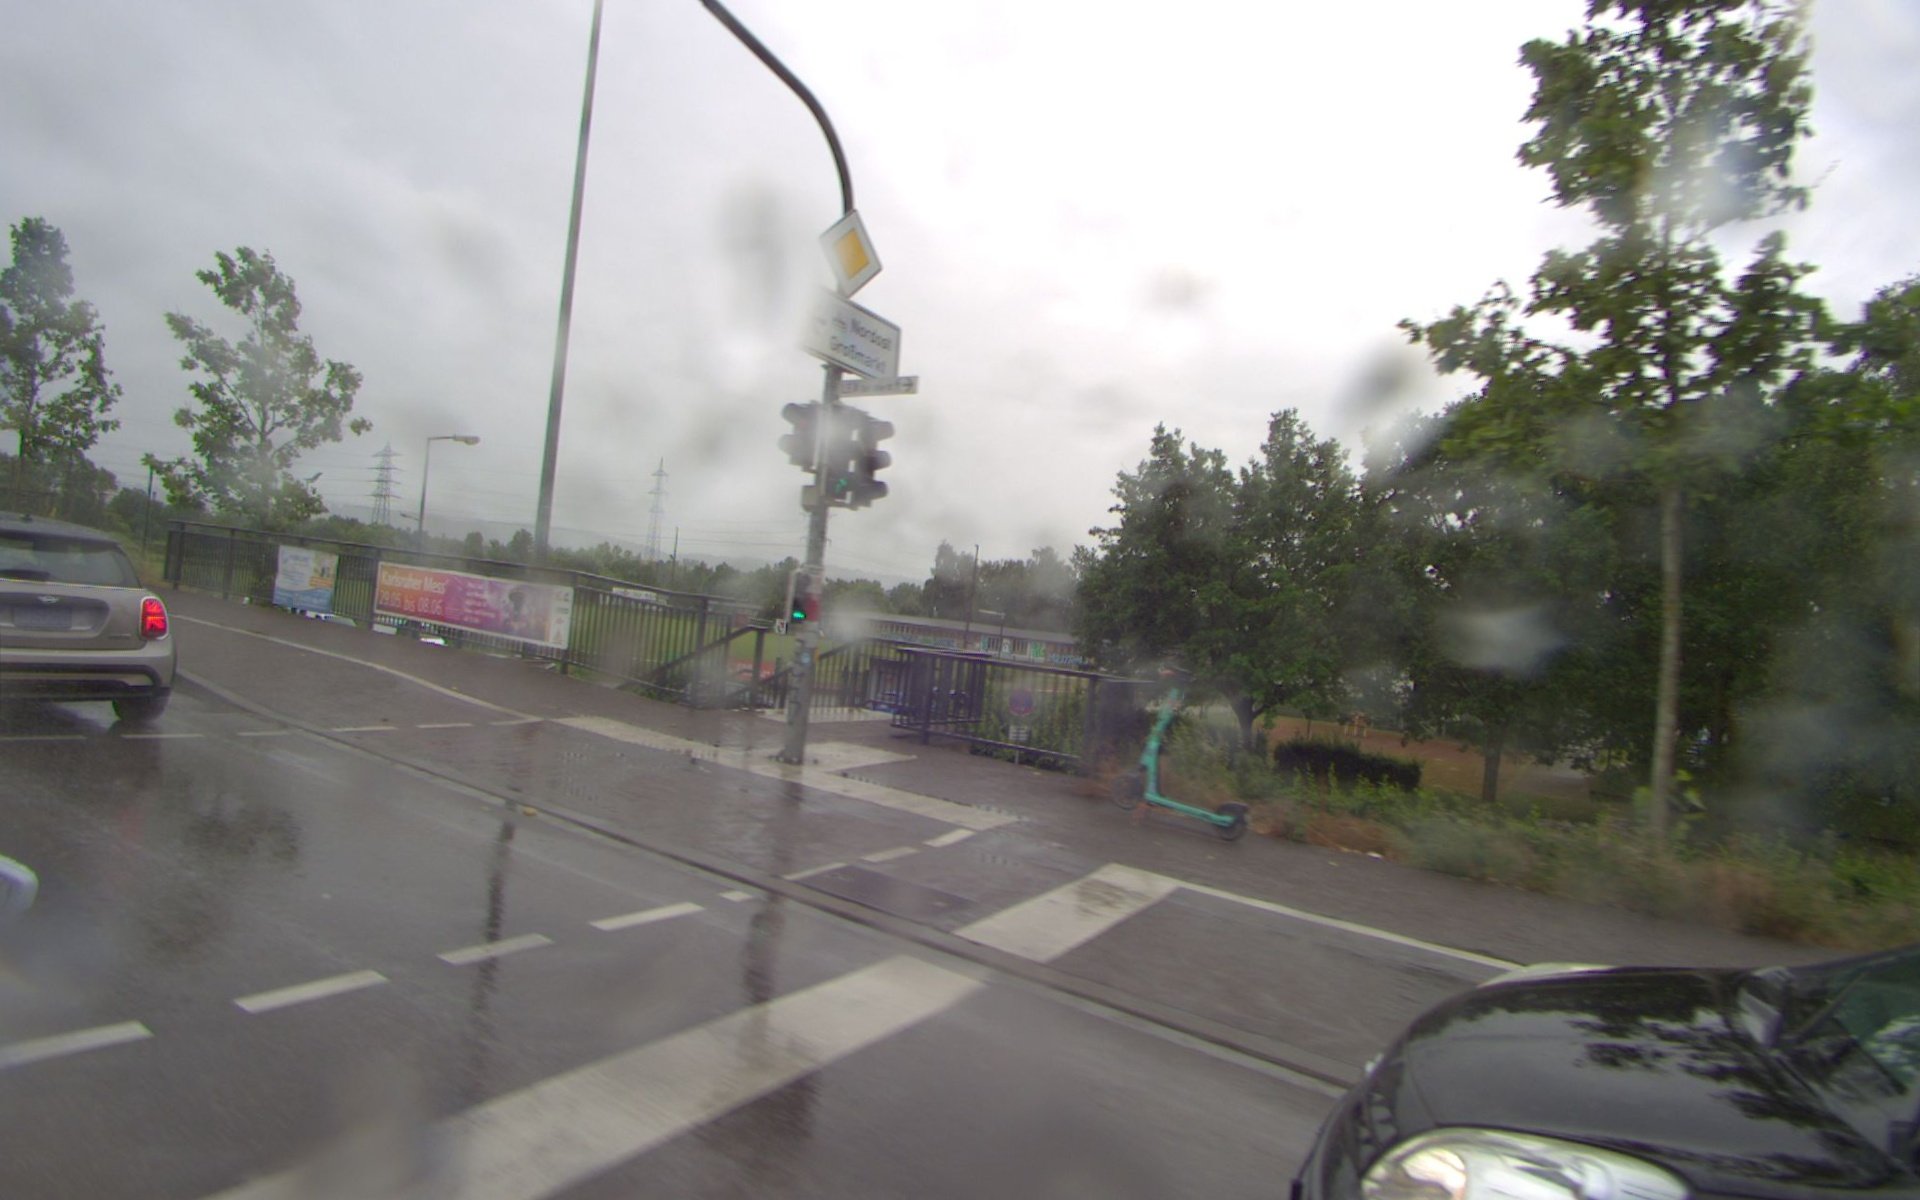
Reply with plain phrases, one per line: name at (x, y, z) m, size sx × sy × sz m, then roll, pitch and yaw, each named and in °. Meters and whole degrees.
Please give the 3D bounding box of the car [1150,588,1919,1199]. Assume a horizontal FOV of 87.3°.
car at (2.432, 1.029, 1.099) m, size 4.025 × 1.478 × 1.775 m, roll 8°, pitch -2°, yaw 33°

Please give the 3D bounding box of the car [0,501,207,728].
car at (-7.652, -0.068, 7.601) m, size 3.790 × 1.430 × 1.794 m, roll 7°, pitch -1°, yaw 32°

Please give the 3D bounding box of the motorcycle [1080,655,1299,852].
motorcycle at (1.761, 1.143, 7.852) m, size 1.429 × 1.234 × 0.630 m, roll 7°, pitch 1°, yaw 44°
